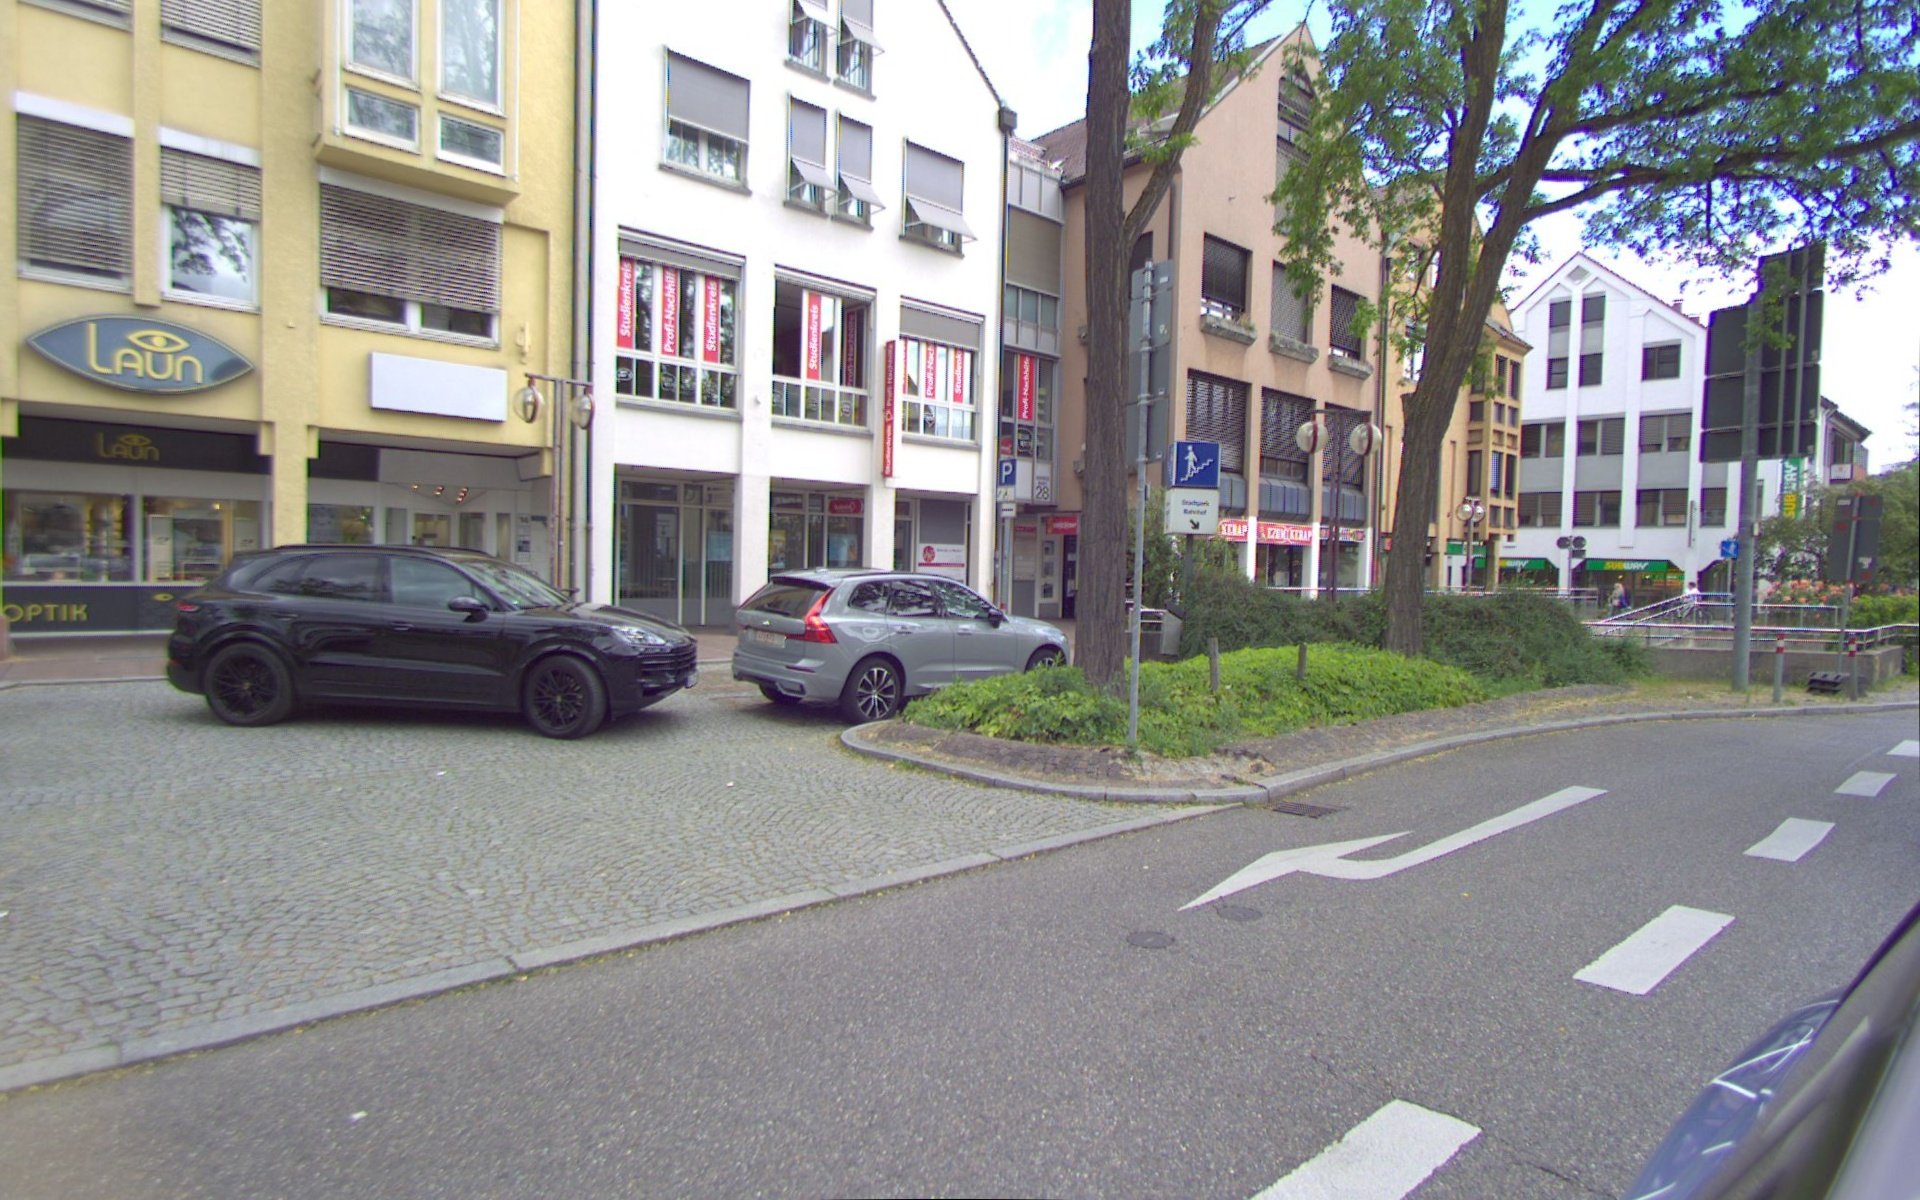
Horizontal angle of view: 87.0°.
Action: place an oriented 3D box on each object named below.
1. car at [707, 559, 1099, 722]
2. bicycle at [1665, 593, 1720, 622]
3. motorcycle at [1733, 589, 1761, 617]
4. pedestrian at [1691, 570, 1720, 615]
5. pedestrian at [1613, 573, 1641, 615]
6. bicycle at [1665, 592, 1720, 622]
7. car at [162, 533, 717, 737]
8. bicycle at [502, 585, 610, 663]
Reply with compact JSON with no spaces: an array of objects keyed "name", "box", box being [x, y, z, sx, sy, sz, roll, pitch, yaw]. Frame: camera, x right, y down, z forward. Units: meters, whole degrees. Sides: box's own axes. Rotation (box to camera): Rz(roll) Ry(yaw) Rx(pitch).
[{"name":"car","box":[-0.535,0.365,12.534,4.685,1.615,1.996,0,2,-44]},{"name":"bicycle","box":[26.699,0.261,36.929,1.584,0.981,0.455,2,2,36]},{"name":"motorcycle","box":[31.080,0.104,39.946,1.961,1.081,0.464,0,2,-41]},{"name":"pedestrian","box":[31.076,-0.310,42.193,0.772,1.846,0.869,0,0,-44]},{"name":"pedestrian","box":[28.858,-0.279,43.782,0.882,1.779,0.931,2,2,38]},{"name":"bicycle","box":[26.313,0.248,36.381,1.584,1.014,0.409,2,2,37]},{"name":"car","box":[-4.940,0.283,10.114,4.573,1.690,1.860,2,2,-2]},{"name":"bicycle","box":[-5.735,0.326,14.400,1.355,1.057,0.393,0,2,-41]}]
